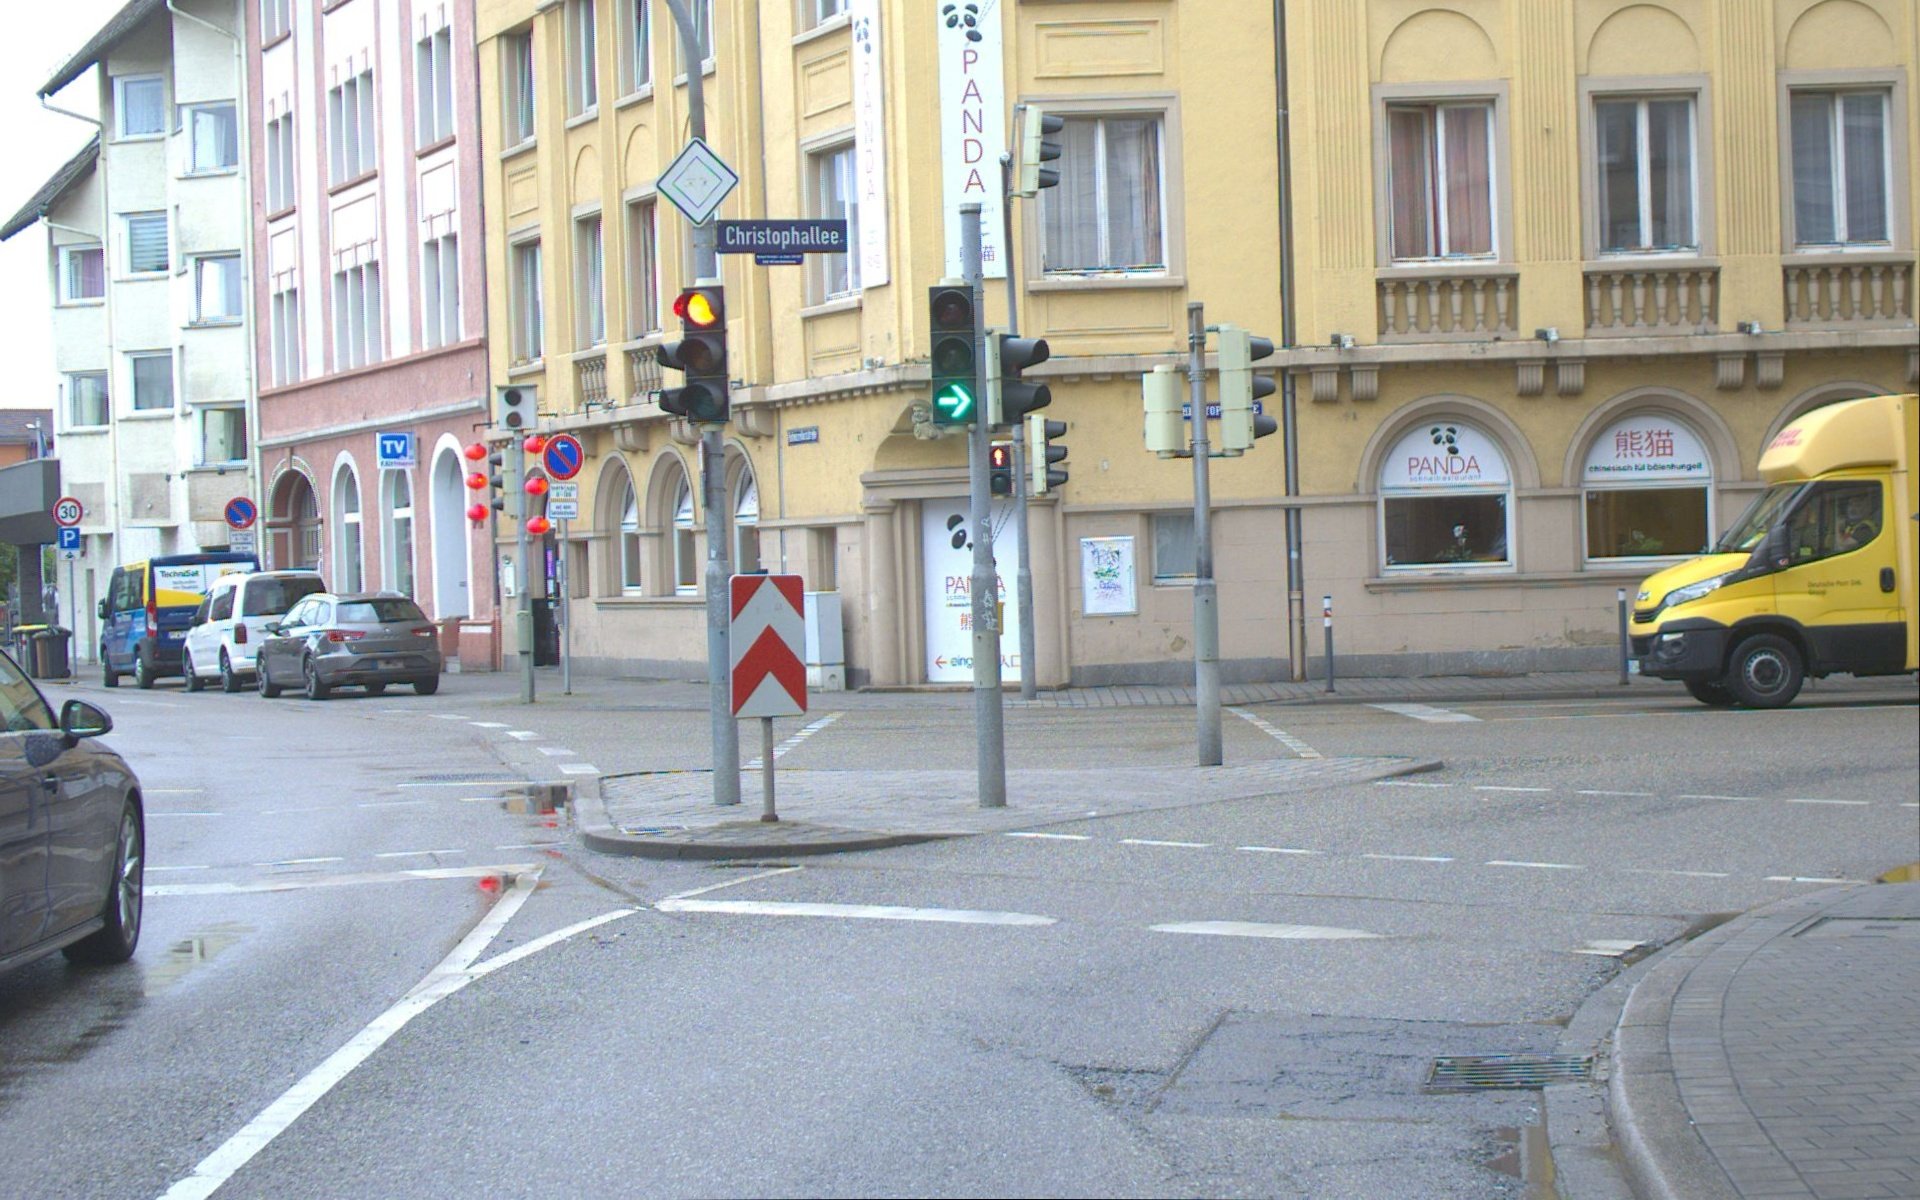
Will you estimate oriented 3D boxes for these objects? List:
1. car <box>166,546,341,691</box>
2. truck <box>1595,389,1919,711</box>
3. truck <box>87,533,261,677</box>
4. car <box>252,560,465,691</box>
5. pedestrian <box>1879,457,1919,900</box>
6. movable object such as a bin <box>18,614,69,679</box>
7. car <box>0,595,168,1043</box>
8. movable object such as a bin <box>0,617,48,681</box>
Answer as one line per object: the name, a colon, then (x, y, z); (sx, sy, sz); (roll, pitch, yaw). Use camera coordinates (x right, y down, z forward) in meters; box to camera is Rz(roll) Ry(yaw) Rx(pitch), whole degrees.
car: (-11.097, 0.255, 53.844); (1.761, 2.173, 4.001); (0, 1, -26)
truck: (9.660, -0.498, 31.898); (7.091, 2.841, 2.083); (-1, 0, -1)
truck: (-13.553, 0.056, 59.115); (2.026, 2.381, 4.237); (0, 1, -26)
car: (-8.349, 0.309, 47.461); (1.878, 1.631, 4.001); (-3, 2, -25)
pedestrian: (4.630, 0.324, 15.074); (1.058, 1.897, 1.024); (-1, 1, 19)
movable object such as a bin: (-18.139, 0.913, 68.015); (0.748, 1.227, 0.984); (4, -1, -25)
car: (-3.956, 0.692, 11.485); (1.803, 1.401, 4.684); (0, 0, -4)
movable object such as a bin: (-18.875, 0.985, 69.272); (0.748, 1.227, 0.984); (4, -1, -25)
